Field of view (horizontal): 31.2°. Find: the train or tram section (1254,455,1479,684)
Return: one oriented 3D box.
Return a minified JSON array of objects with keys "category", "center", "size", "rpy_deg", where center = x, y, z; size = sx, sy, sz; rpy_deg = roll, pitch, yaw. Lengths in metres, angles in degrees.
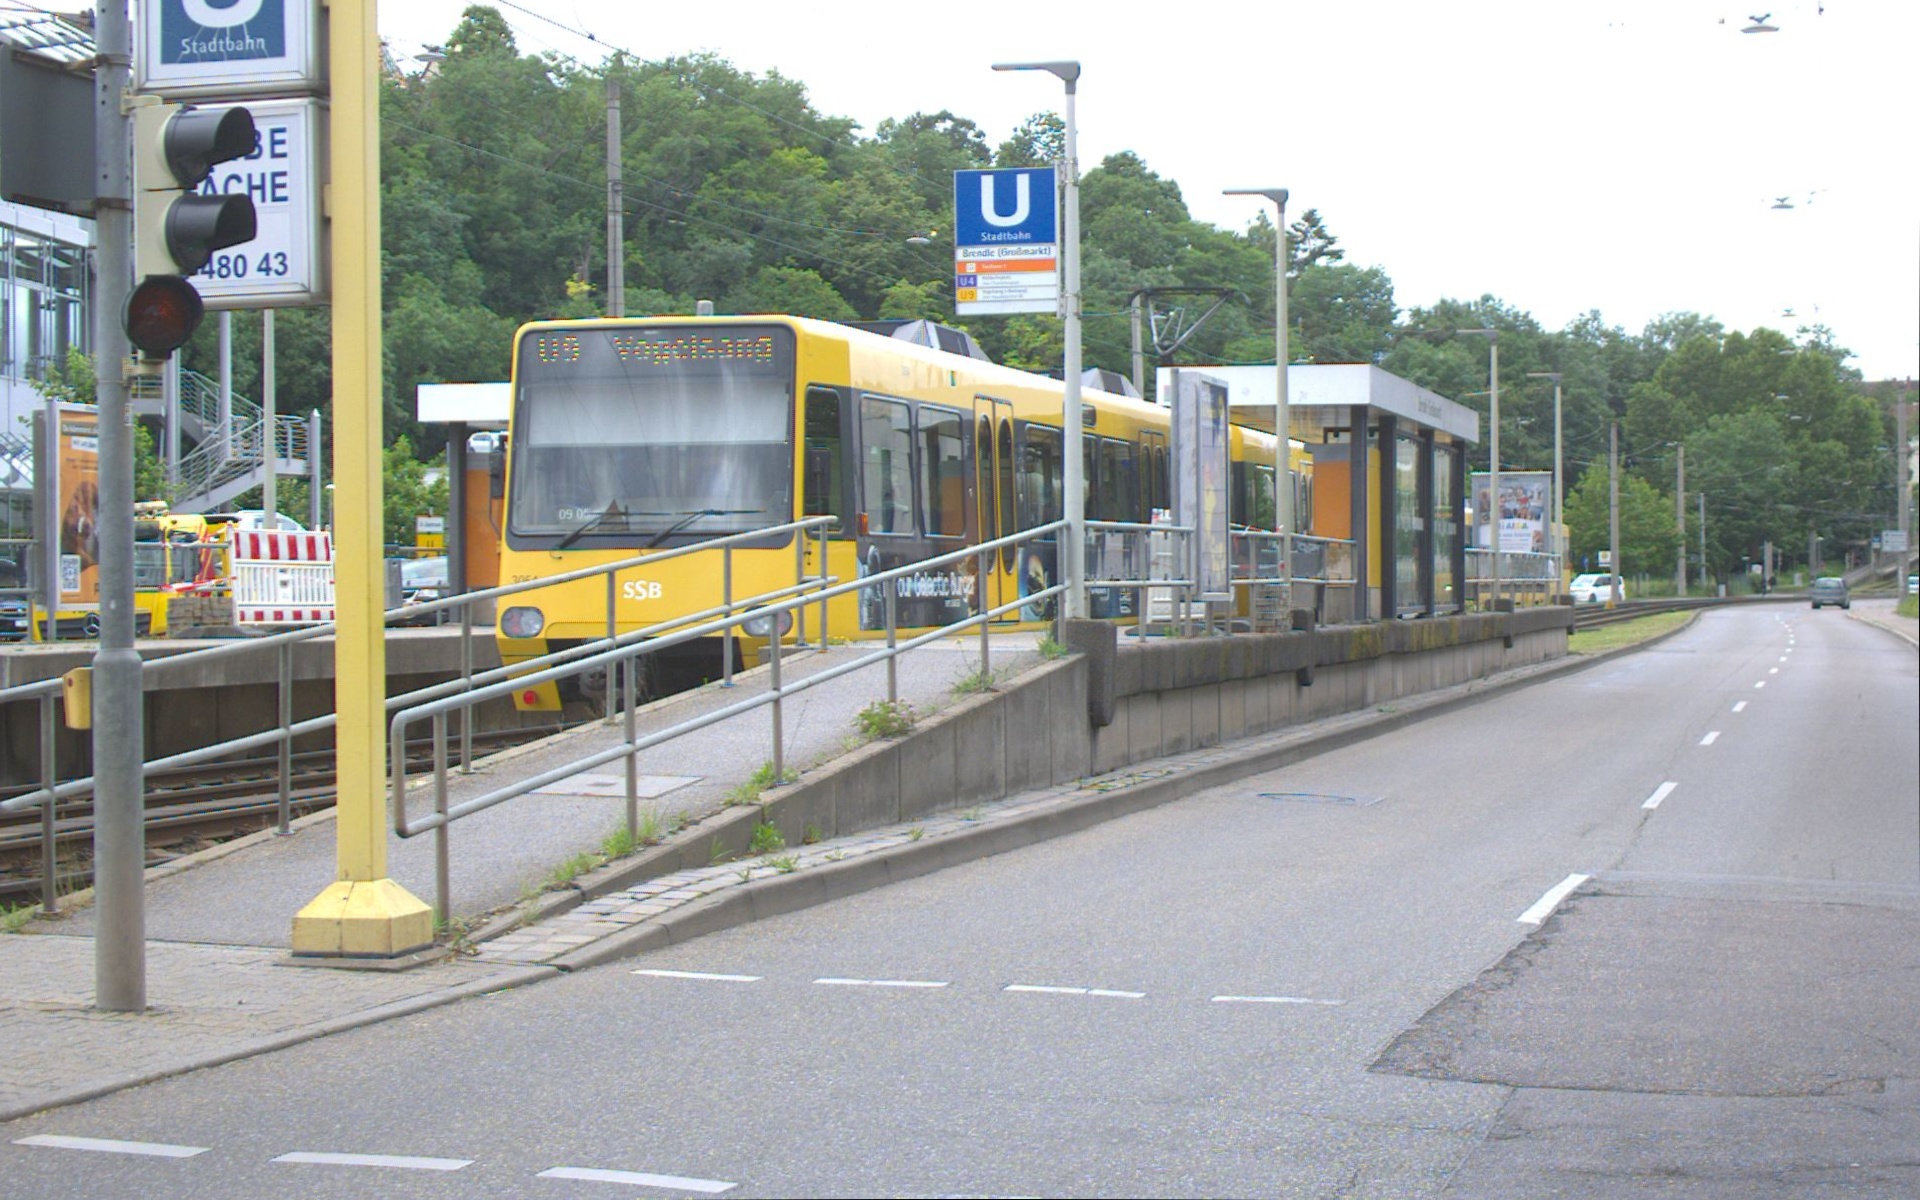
[{"category":"train or tram section","center":[7.976,-0.593,66.183],"size":[2.973,4.051,10.189],"rpy_deg":[0,1,14]}]

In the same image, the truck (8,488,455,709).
[{"category":"truck","center":[-10.826,0.009,52.298],"size":[2.696,3.068,9.000],"rpy_deg":[0,0,16]}]

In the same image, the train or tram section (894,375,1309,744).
[{"category":"train or tram section","center":[2.097,-0.492,43.027],"size":[2.742,3.953,11.904],"rpy_deg":[0,1,14]}]

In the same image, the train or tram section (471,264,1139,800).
[{"category":"train or tram section","center":[-0.892,-0.562,31.475],"size":[2.742,3.953,11.904],"rpy_deg":[0,1,14]}]
